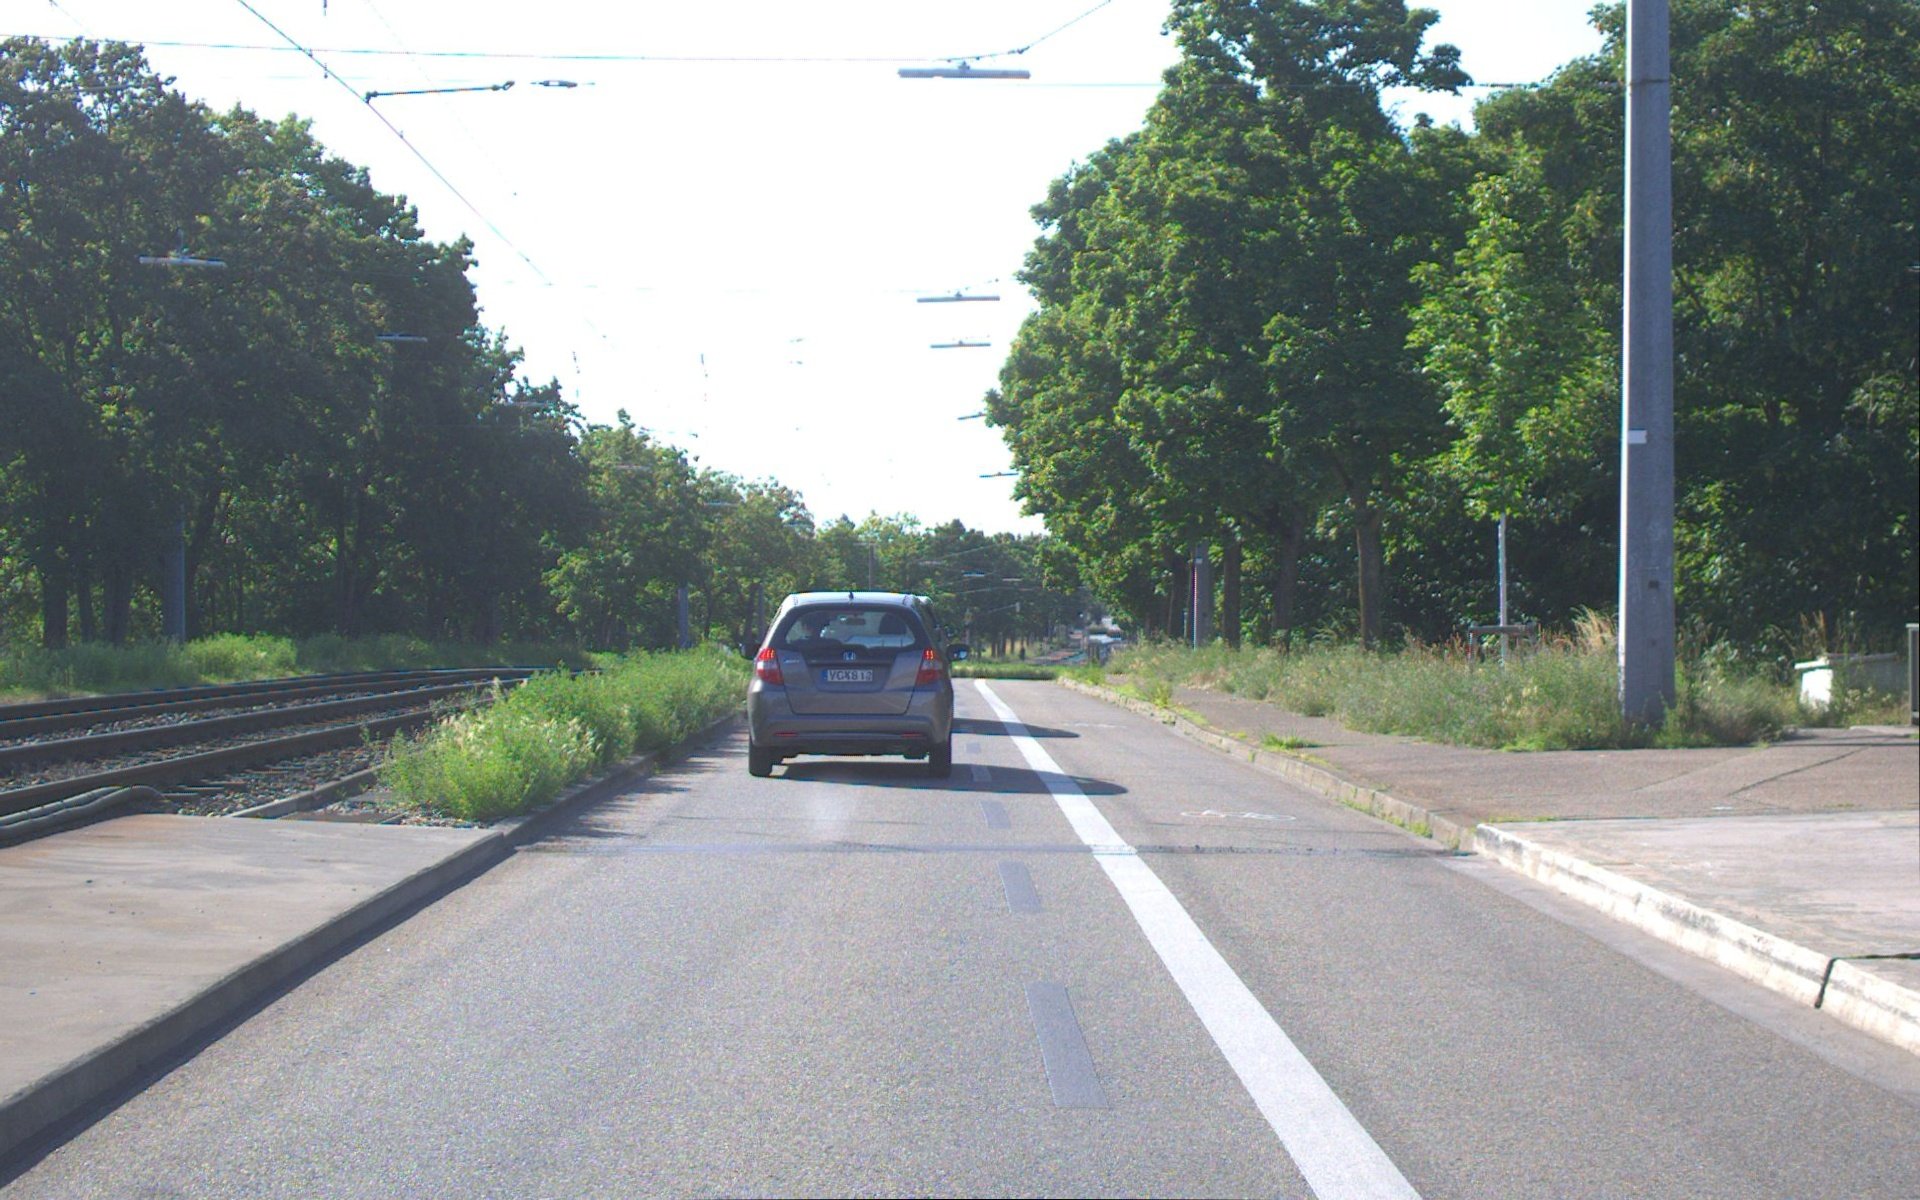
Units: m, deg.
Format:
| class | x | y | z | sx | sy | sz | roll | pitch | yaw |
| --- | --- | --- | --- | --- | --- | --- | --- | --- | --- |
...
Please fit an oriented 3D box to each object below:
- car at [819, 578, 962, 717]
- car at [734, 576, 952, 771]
| class | x | y | z | sx | sy | sz | roll | pitch | yaw |
| --- | --- | --- | --- | --- | --- | --- | --- | --- | --- |
| car | -0.829 | 0.556 | 42.964 | 1.654 | 1.502 | 3.811 | 2 | 2 | 0 |
| car | -0.938 | 0.585 | 29.261 | 1.670 | 1.502 | 3.811 | 2 | 0 | 0 |
